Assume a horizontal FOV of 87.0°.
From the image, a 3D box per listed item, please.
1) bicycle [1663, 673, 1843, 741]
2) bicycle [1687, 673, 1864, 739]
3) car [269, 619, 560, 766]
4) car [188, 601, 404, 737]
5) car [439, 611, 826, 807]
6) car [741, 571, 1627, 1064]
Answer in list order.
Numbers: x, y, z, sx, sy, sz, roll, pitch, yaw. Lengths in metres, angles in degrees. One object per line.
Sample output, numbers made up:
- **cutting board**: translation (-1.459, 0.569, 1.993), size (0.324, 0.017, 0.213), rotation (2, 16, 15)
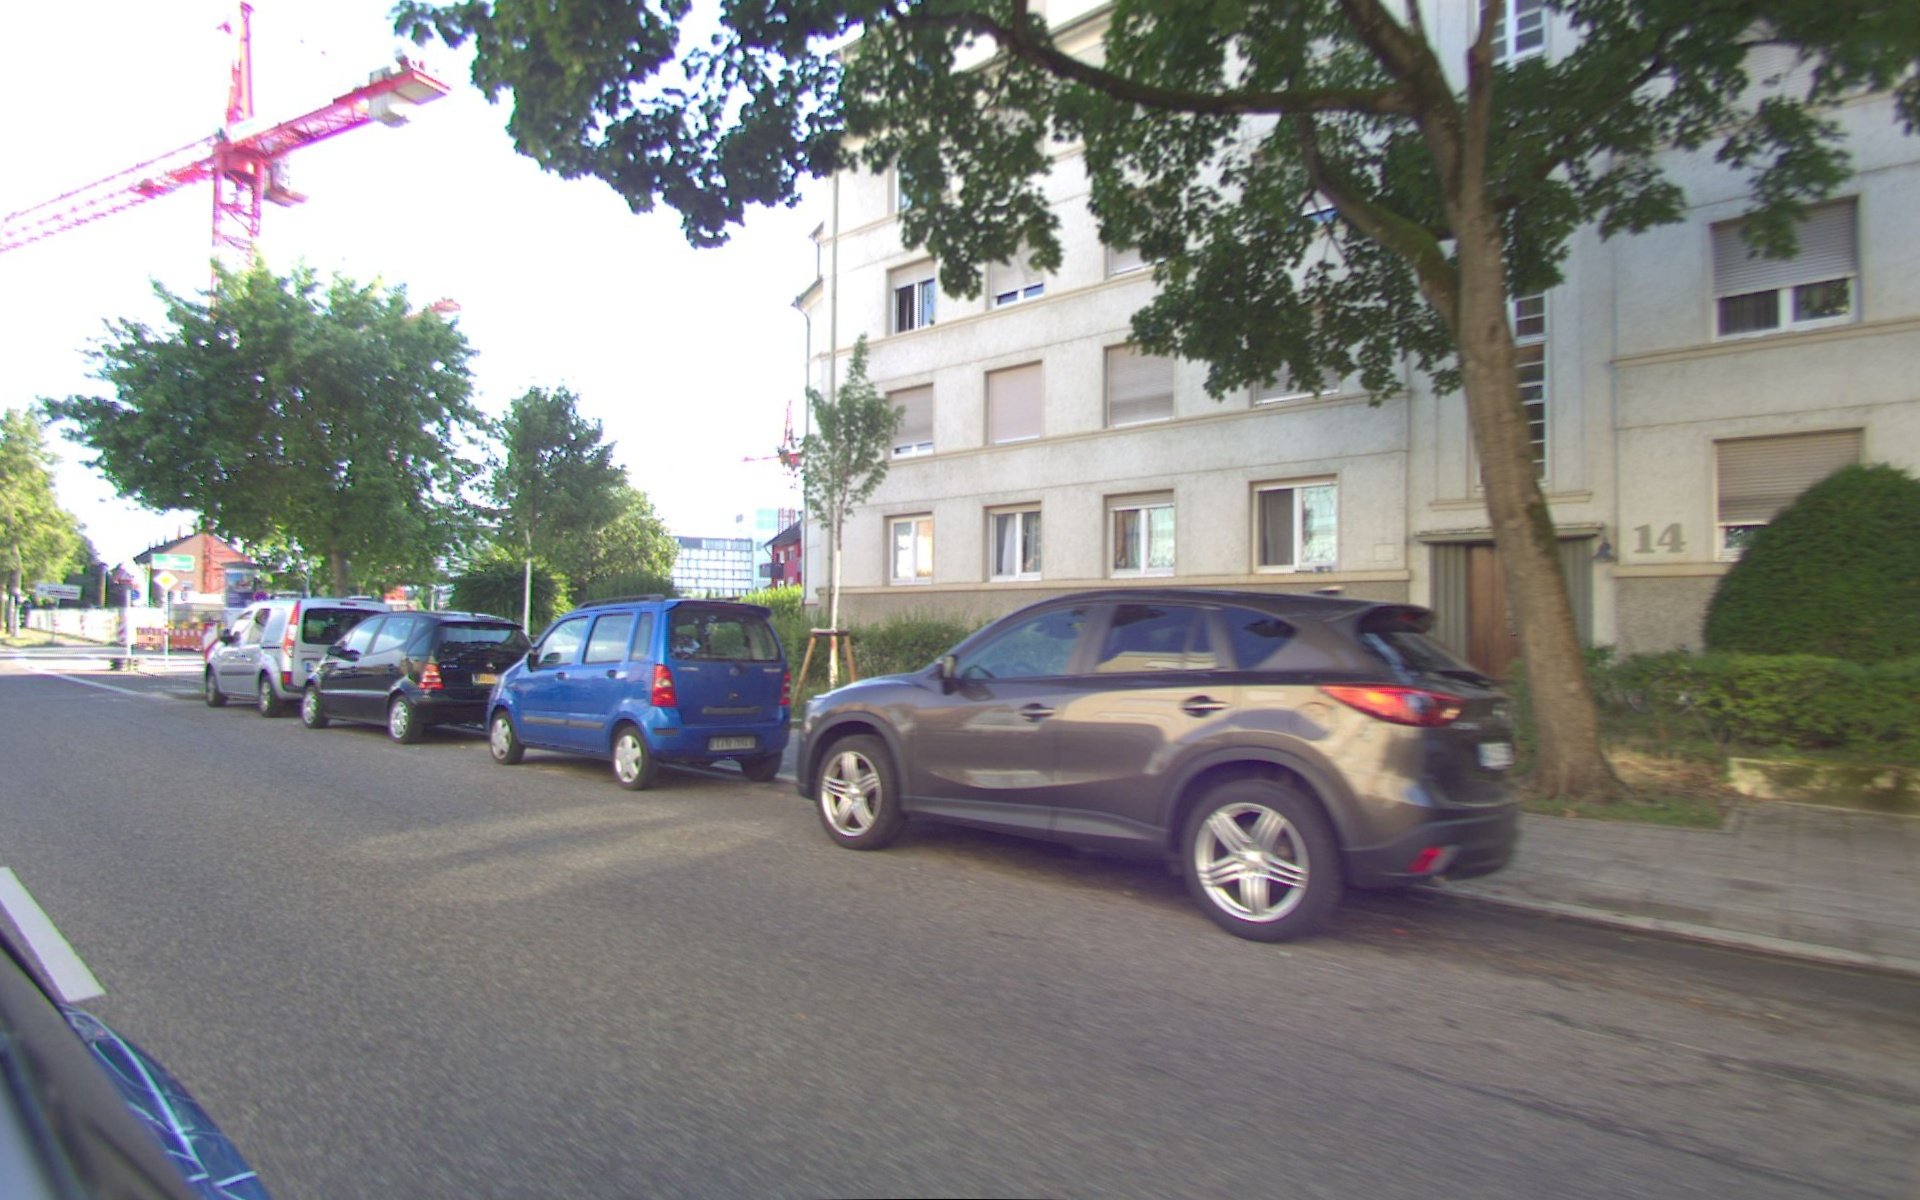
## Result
- **bicycle**: translation (10.066, 1.343, 12.907), size (1.787, 0.714, 0.404), rotation (0, 0, 40)
- **bicycle**: translation (10.623, 1.366, 13.244), size (1.787, 0.714, 0.404), rotation (0, 0, 40)
- **car**: translation (-7.113, 1.094, 13.062), size (3.996, 1.564, 1.855), rotation (0, -4, 39)
- **car**: translation (-10.843, 1.001, 16.405), size (4.486, 1.911, 1.821), rotation (0, -2, 42)
- **car**: translation (-3.390, 0.900, 10.163), size (3.996, 1.564, 1.855), rotation (0, 0, 39)
- **car**: translation (0.985, 0.836, 5.877), size (4.685, 1.772, 1.855), rotation (0, -3, 39)
